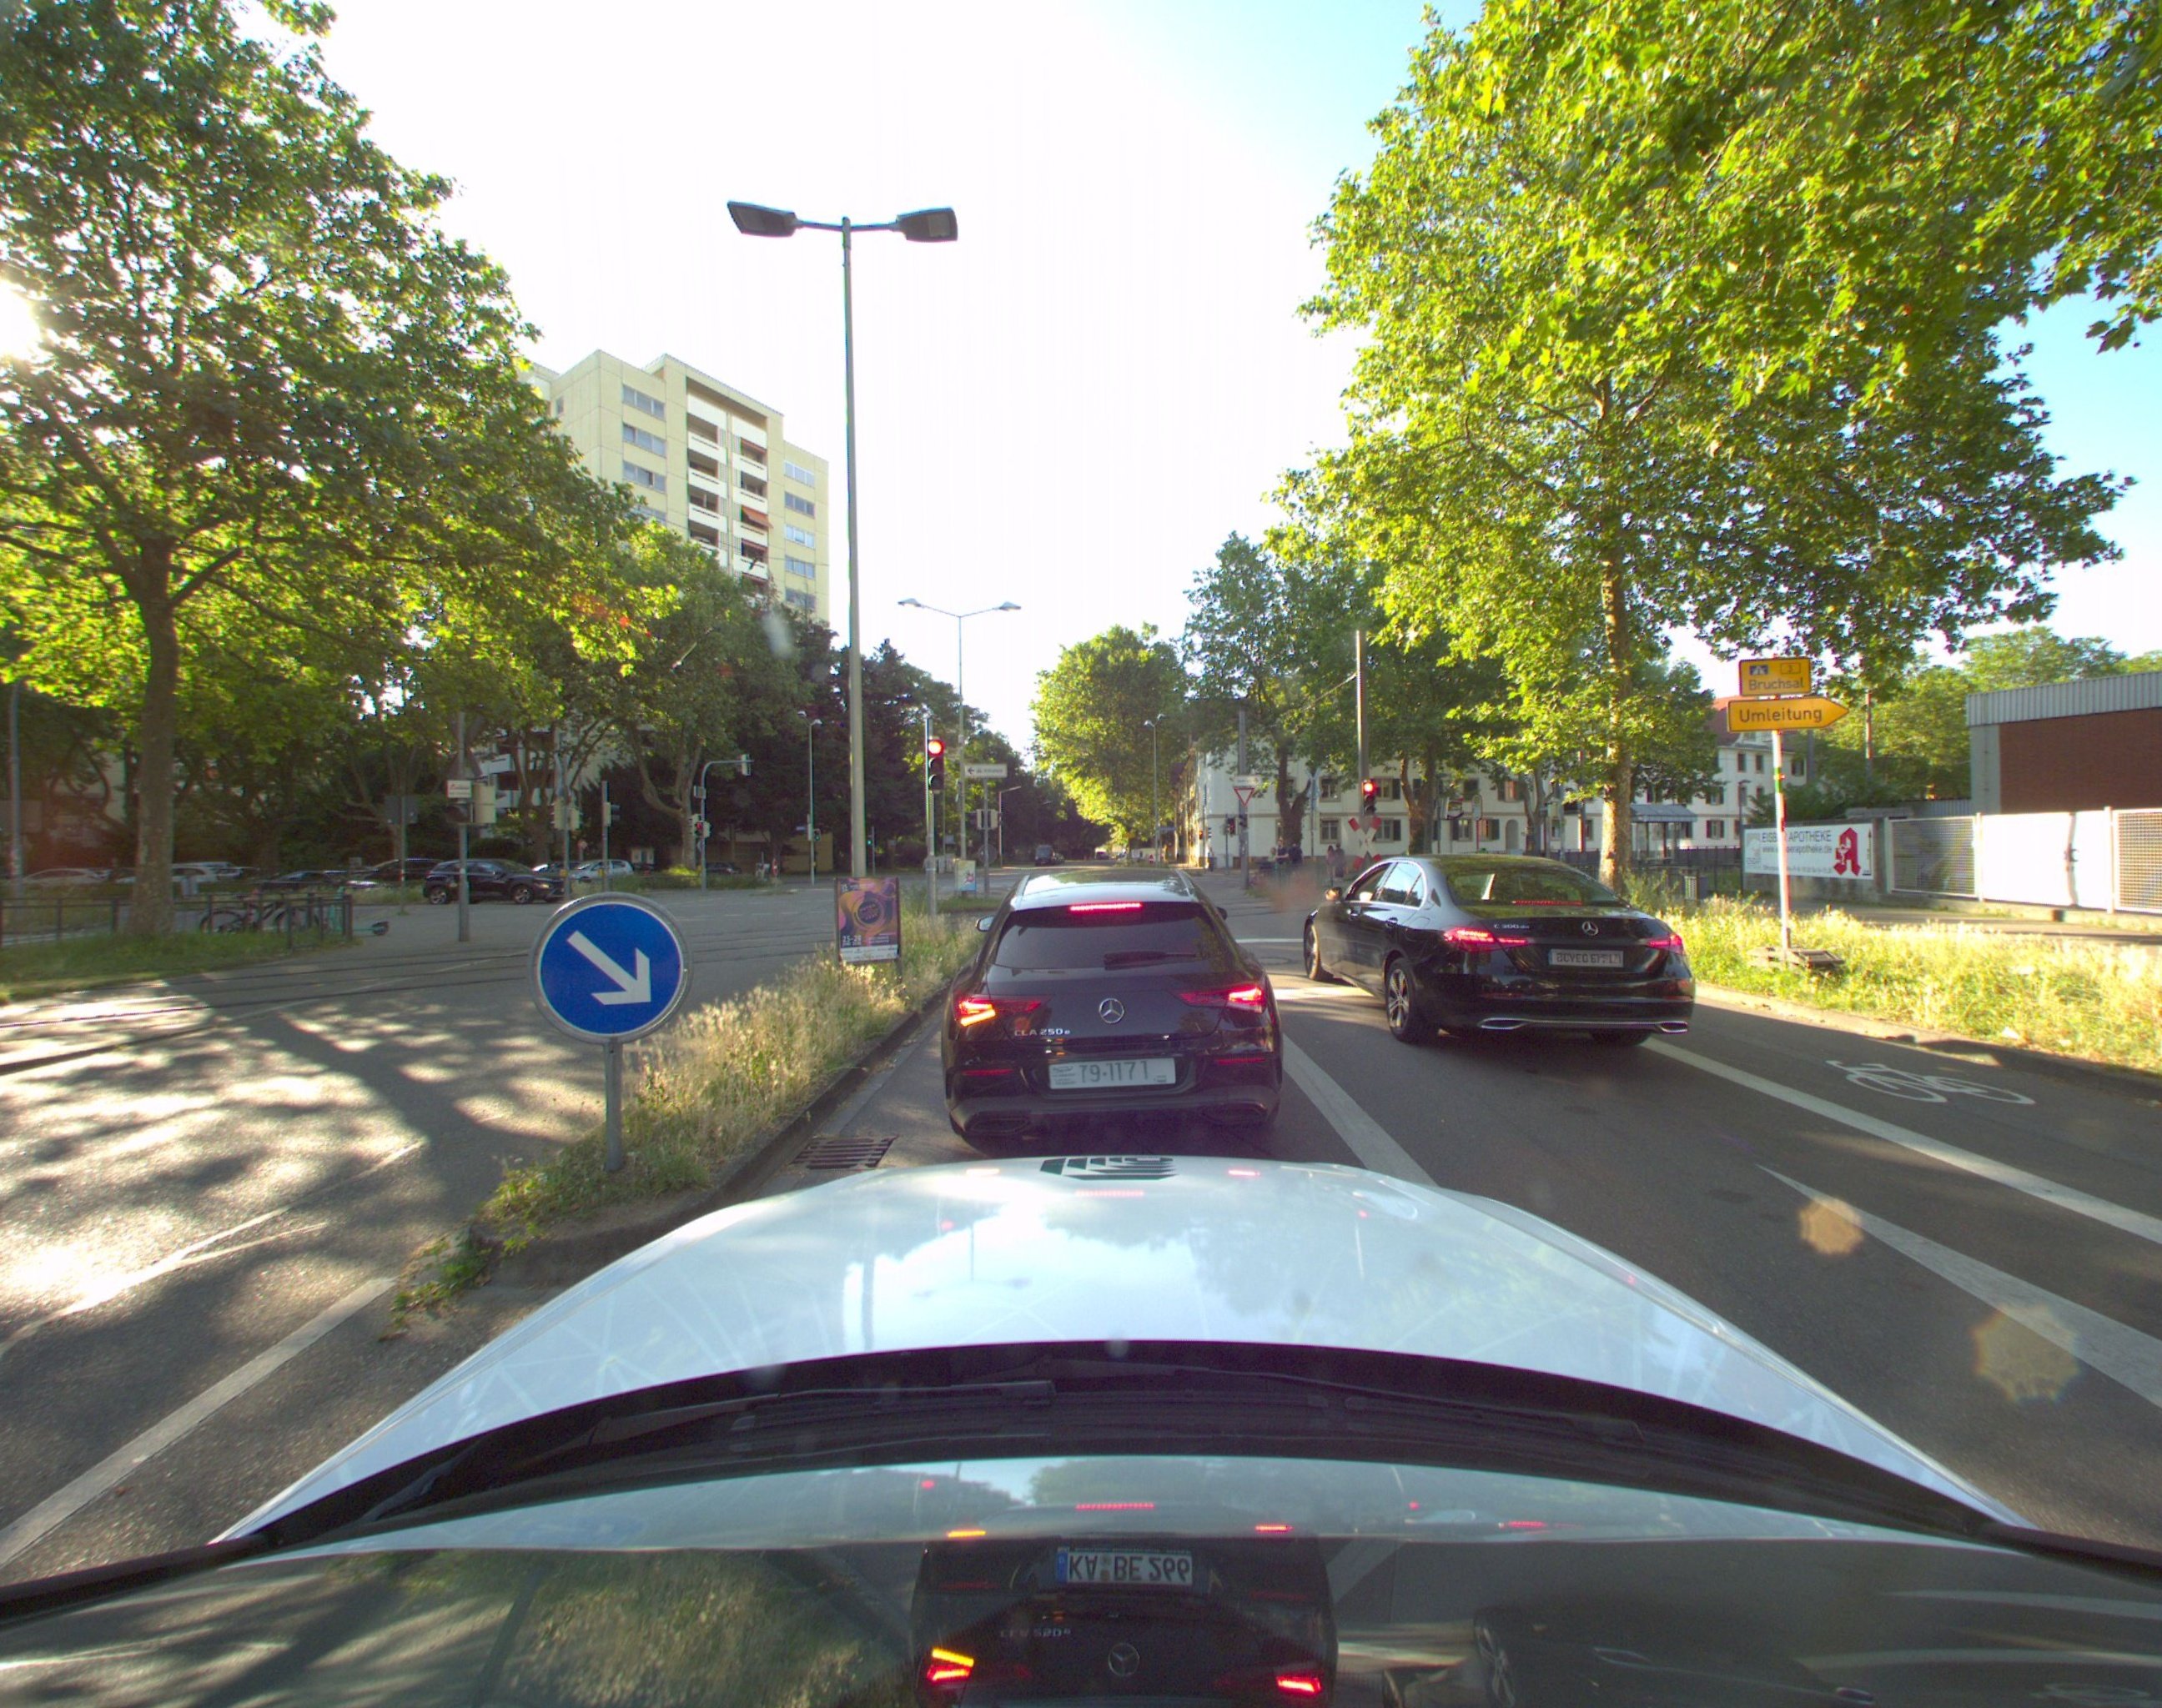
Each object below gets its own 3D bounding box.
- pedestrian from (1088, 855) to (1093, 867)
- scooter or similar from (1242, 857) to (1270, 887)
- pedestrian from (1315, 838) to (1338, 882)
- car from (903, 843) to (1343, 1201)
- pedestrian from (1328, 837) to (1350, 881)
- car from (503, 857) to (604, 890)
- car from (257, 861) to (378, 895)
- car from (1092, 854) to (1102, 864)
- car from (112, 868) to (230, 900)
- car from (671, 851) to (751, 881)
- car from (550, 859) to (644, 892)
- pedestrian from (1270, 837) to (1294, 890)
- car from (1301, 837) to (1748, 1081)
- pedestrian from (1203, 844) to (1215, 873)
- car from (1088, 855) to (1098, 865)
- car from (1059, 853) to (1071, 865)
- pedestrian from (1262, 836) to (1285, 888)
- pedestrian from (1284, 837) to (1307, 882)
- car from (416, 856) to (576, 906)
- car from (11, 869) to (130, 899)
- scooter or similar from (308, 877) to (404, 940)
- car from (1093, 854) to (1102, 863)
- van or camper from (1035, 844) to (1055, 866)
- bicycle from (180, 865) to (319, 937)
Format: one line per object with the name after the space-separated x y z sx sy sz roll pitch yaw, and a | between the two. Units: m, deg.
1.539 1.046 130.206 0.704 1.918 0.837 0 -1 -8 | pedestrian
6.526 0.678 30.456 0.826 1.104 0.808 0 -1 -4 | scooter or similar
10.724 0.258 35.565 0.703 1.918 0.838 0 -1 -2 | pedestrian
0.288 0.697 5.507 1.881 1.450 4.004 0 2 3 | car
11.574 0.229 36.545 0.703 1.918 0.838 0 -1 -2 | pedestrian
-27.218 0.974 42.167 1.716 1.596 4.025 -1 -1 32 | car
-37.413 1.145 40.004 1.716 1.596 4.025 -1 -1 32 | car
2.916 0.973 150.547 1.727 1.765 4.020 0 -1 2 | car
-49.159 1.587 44.077 1.716 1.596 4.025 -1 -1 32 | car
-22.639 0.745 49.931 3.963 1.774 2.005 -1 -1 9 | car
-24.922 1.066 42.033 1.716 1.596 3.831 -1 -1 32 | car
7.414 0.342 30.089 0.680 1.918 0.707 0 -1 0 | pedestrian
3.395 0.621 7.369 1.881 1.490 4.386 0 2 4 | car
8.641 0.288 54.990 0.703 1.918 0.838 0 -1 -2 | pedestrian
2.103 1.001 145.695 1.727 1.765 4.020 0 -1 2 | car
-2.470 0.822 126.682 1.727 1.765 3.972 0 -1 2 | car
7.289 0.297 30.865 0.681 1.918 0.707 0 -1 -2 | pedestrian
9.254 0.246 35.151 0.703 1.918 0.838 0 -1 -2 | pedestrian
-19.484 0.884 27.284 3.981 1.596 1.735 0 -1 -5 | car
-57.099 1.665 46.080 1.716 1.596 4.025 -1 -1 32 | car
-15.092 1.107 16.988 0.408 1.239 1.450 -1 -1 40 | scooter or similar
3.247 0.894 158.630 1.727 1.765 4.020 0 -1 2 | car
-4.417 0.125 100.057 1.986 2.541 4.653 0 -1 2 | van or camper
-15.952 0.878 15.676 1.845 1.307 0.380 0 -1 -26 | bicycle
